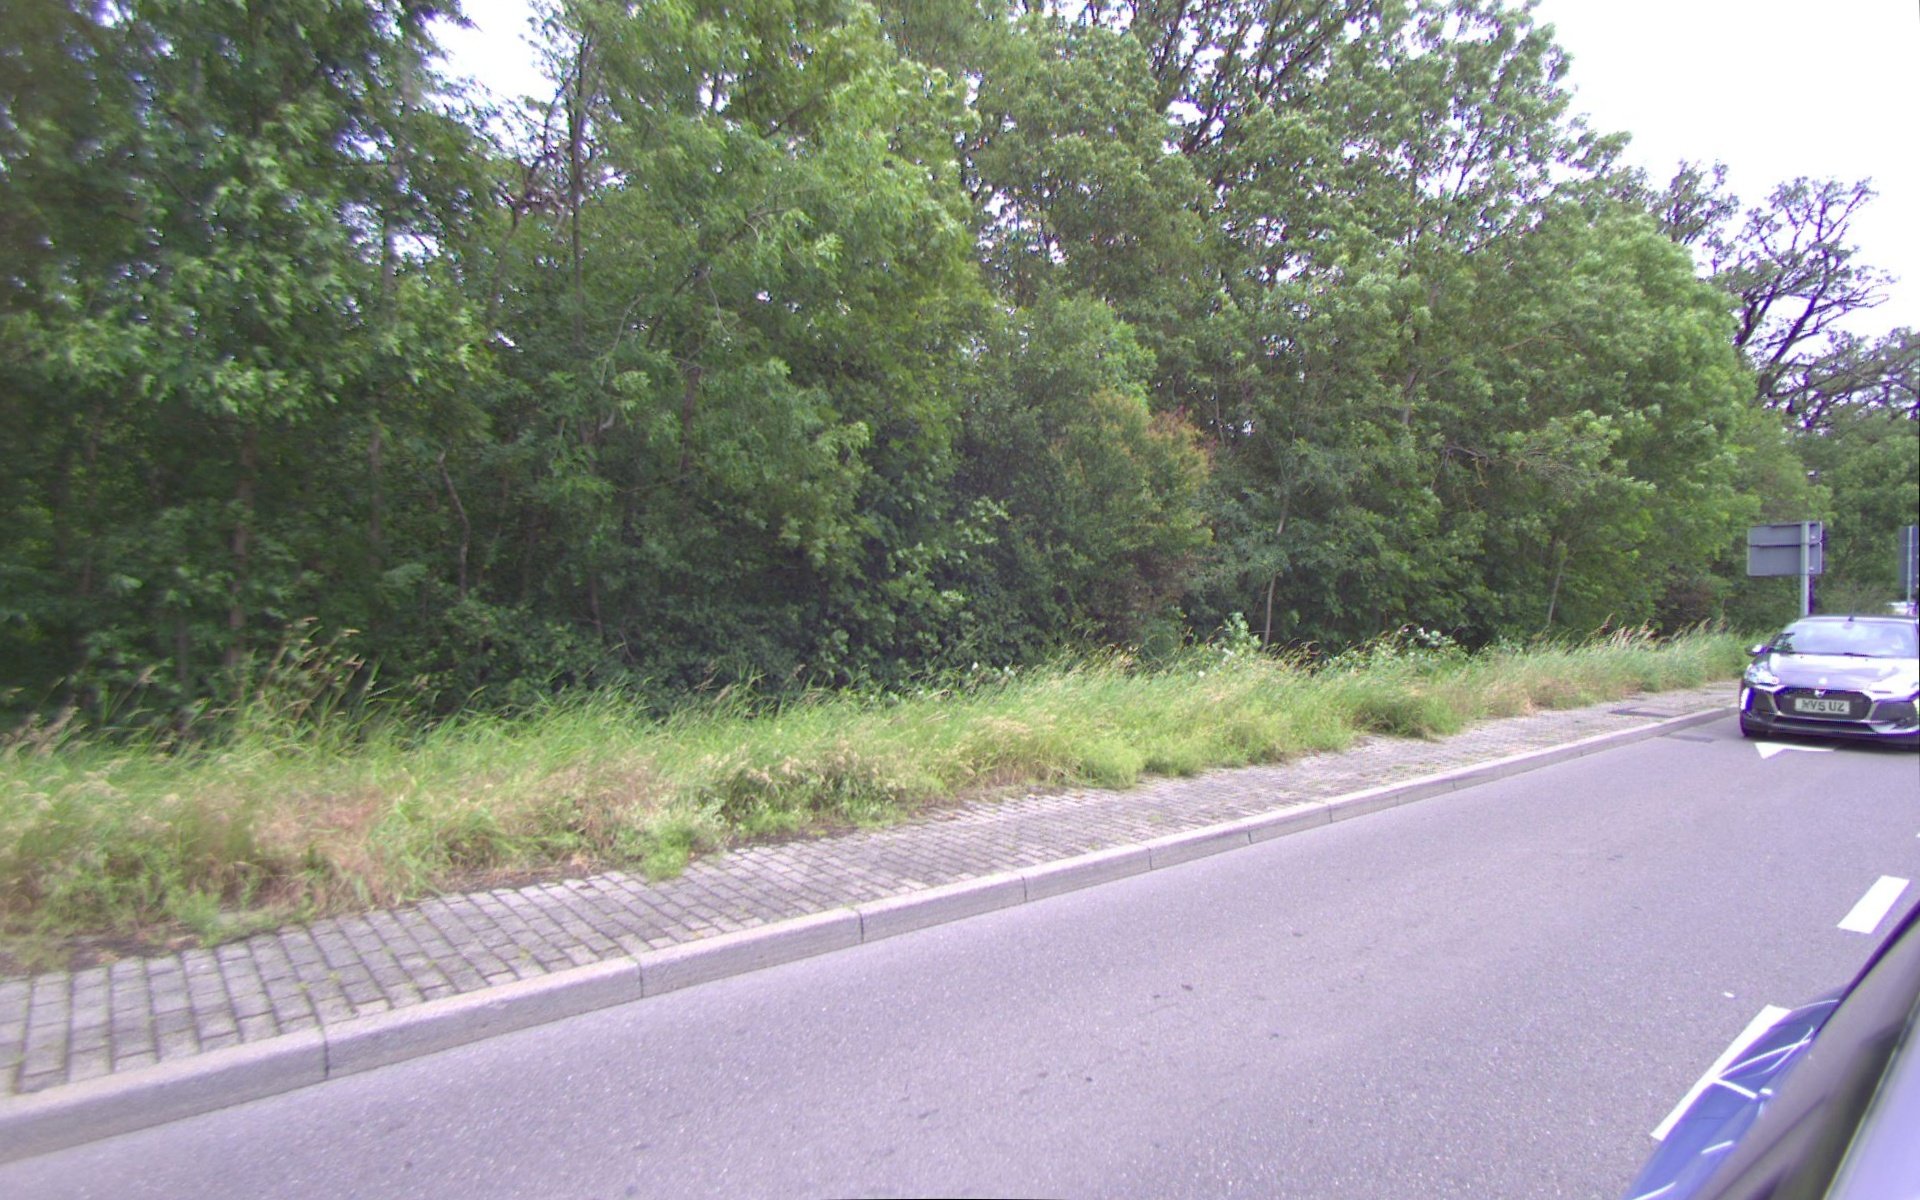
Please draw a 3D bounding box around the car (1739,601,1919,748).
[{"bbox_3d":[10.820,0.765,12.004,3.786,1.476,1.729,0,0,-40],"label":"car"}]
